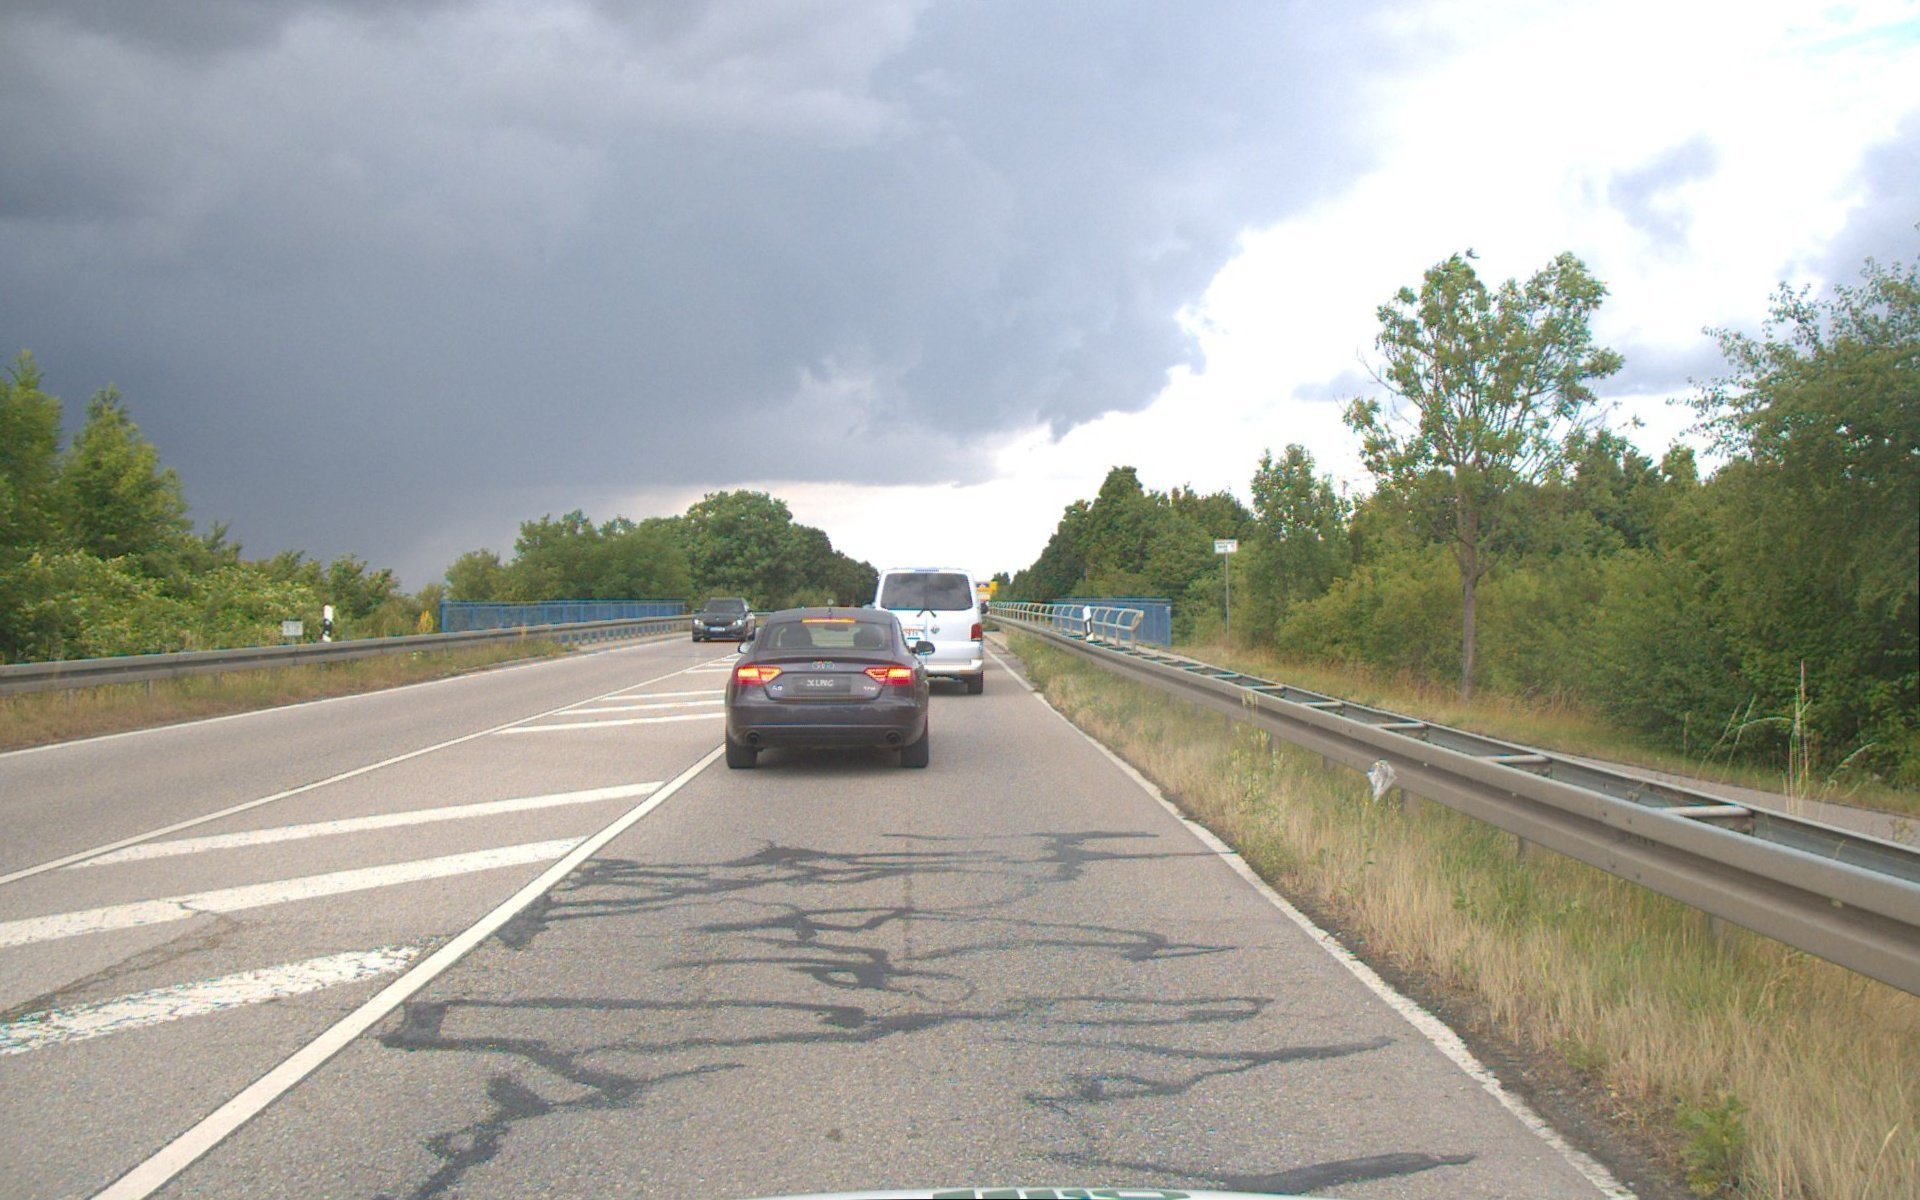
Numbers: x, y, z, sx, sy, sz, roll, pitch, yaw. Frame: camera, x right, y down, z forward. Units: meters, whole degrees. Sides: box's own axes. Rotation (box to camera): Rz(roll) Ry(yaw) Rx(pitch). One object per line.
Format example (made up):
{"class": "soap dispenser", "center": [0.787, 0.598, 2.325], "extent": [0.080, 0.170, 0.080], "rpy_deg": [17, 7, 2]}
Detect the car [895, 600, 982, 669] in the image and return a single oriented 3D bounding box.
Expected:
{"class": "car", "center": [-0.442, 0.718, 36.096], "extent": [1.784, 1.405, 4.071], "rpy_deg": [0, 0, 0]}

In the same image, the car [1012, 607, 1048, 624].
{"class": "car", "center": [8.461, 1.859, 200.915], "extent": [3.915, 2.049, 1.995], "rpy_deg": [1, -1, 32]}

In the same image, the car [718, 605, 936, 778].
{"class": "car", "center": [-1.139, 0.761, 15.679], "extent": [1.784, 1.405, 4.070], "rpy_deg": [-1, 0, -1]}

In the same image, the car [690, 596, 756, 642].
{"class": "car", "center": [-8.028, 0.629, 56.367], "extent": [1.763, 1.475, 4.444], "rpy_deg": [-1, 0, -2]}

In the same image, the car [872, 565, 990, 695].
{"class": "car", "center": [-0.485, 0.471, 27.320], "extent": [1.791, 1.969, 3.999], "rpy_deg": [-1, 0, -1]}
